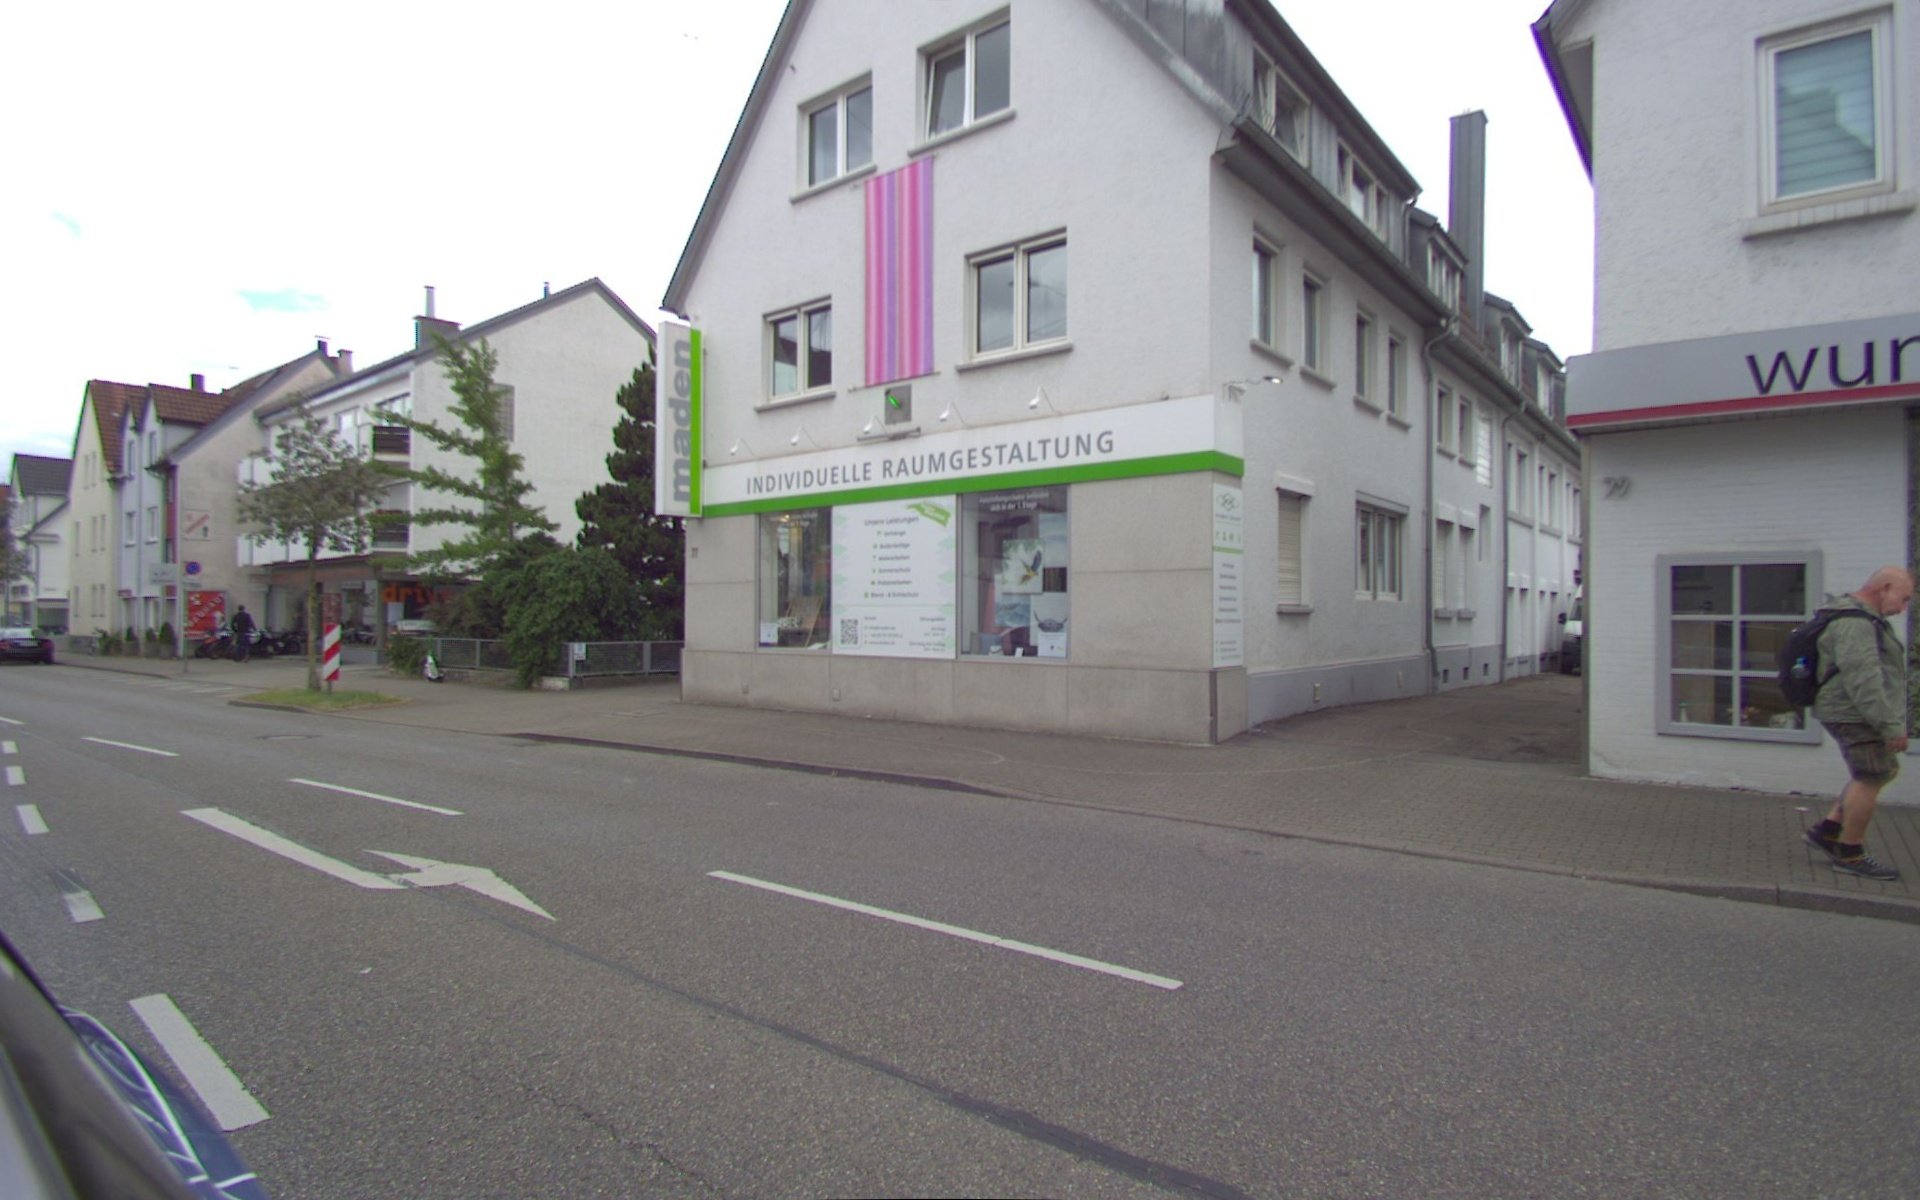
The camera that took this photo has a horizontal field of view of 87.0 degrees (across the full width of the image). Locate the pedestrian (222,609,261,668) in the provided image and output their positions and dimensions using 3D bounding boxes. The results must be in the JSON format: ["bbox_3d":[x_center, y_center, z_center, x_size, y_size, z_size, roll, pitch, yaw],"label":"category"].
[{"bbox_3d":[-23.768,1.258,33.478,1.019,1.863,0.744,-1,2,40],"label":"pedestrian"}]

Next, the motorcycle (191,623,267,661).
[{"bbox_3d":[-27.521,1.568,38.114,0.612,1.275,2.204,-1,1,38],"label":"motorcycle"}]

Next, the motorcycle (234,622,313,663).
[{"bbox_3d":[-24.294,1.482,35.846,0.612,1.275,2.204,-1,1,38],"label":"motorcycle"}]

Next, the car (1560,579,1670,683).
[{"bbox_3d":[18.160,0.761,27.907,1.957,2.527,5.918,2,1,38],"label":"car"}]

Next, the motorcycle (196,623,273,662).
[{"bbox_3d":[-26.975,1.557,37.652,0.612,1.275,2.204,-1,1,38],"label":"motorcycle"}]

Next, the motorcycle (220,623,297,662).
[{"bbox_3d":[-25.513,1.533,36.829,0.612,1.275,2.204,-1,1,38],"label":"motorcycle"}]

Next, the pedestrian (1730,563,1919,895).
[{"bbox_3d":[5.103,0.678,5.817,1.019,1.756,0.744,-1,1,40],"label":"pedestrian"}]

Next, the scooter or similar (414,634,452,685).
[{"bbox_3d":[-11.998,1.334,23.033,1.179,1.120,0.336,-1,-1,41],"label":"scooter or similar"}]

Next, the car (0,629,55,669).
[{"bbox_3d":[-36.254,1.846,38.726,4.337,1.428,1.770,-1,-2,39],"label":"car"}]

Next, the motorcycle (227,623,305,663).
[{"bbox_3d":[-24.865,1.520,36.311,0.612,1.275,2.204,-1,1,38],"label":"motorcycle"}]

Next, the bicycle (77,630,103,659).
[{"bbox_3d":[-37.665,1.914,43.803,2.022,1.205,0.509,-1,-1,39],"label":"bicycle"}]

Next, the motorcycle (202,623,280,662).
[{"bbox_3d":[-26.349,1.531,37.141,0.698,1.275,2.204,-1,1,38],"label":"motorcycle"}]
